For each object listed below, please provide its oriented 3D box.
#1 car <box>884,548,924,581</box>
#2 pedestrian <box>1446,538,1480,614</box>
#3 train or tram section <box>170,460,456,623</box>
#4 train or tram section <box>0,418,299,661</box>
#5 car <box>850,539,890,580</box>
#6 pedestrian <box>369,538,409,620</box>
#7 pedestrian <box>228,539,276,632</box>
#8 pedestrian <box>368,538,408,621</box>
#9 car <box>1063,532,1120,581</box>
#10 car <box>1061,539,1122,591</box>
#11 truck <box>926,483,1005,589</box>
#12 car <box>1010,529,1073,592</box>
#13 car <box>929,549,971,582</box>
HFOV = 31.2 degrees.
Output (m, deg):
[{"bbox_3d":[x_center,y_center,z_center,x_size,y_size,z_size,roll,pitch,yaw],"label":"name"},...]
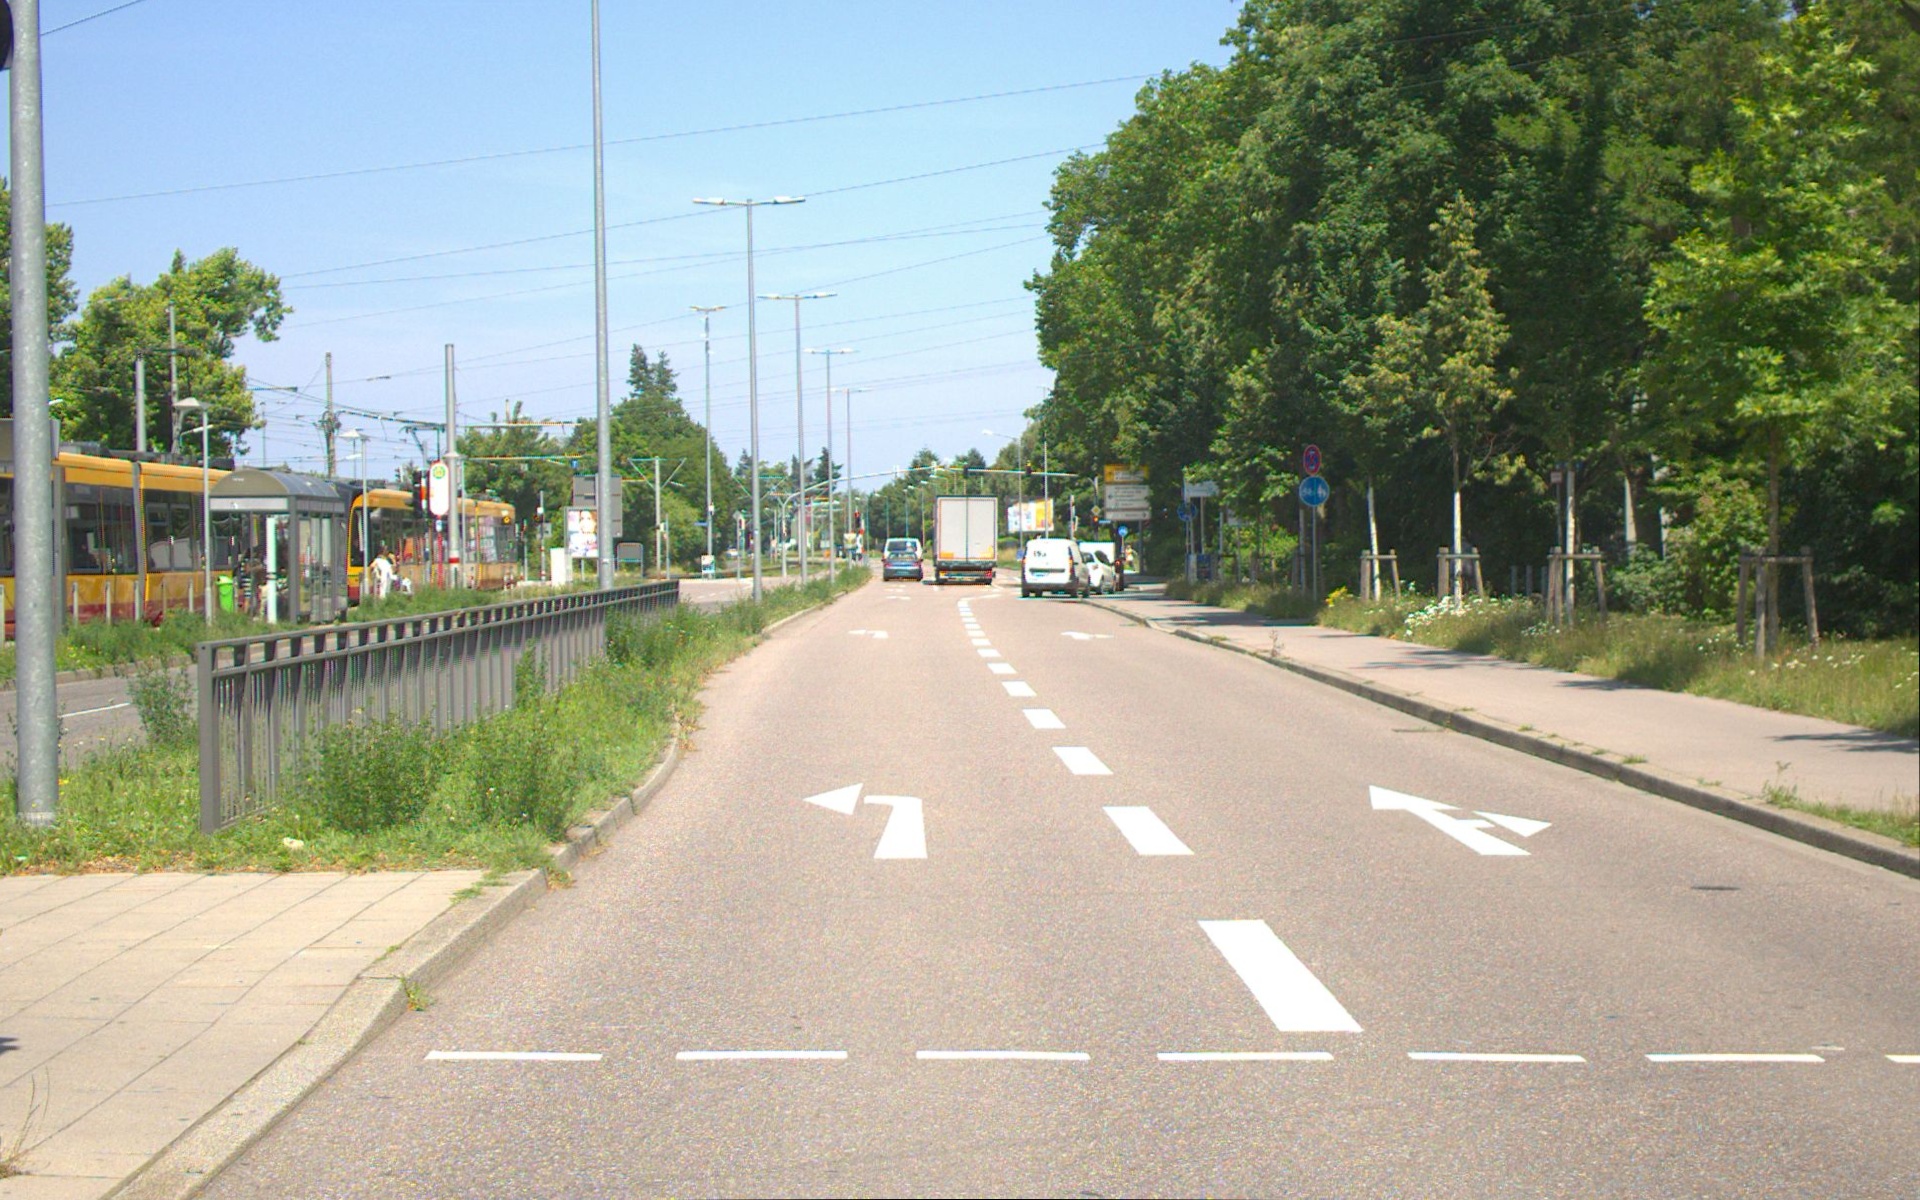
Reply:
[{"bbox_3d":[-2.578,-1.652,157.878,1.811,1.459,4.000,0,1,-1],"label":"car"},{"bbox_3d":[9.545,-0.453,65.260,0.604,1.433,0.556,0,1,6],"label":"pedestrian"},{"bbox_3d":[-17.581,-1.662,97.034,2.931,3.776,33.091,0,1,-2],"label":"train or tram section"},{"bbox_3d":[-16.599,-1.143,65.594,2.957,3.736,30.035,0,1,-2],"label":"train or tram section"},{"bbox_3d":[-4.576,-2.075,175.158,1.993,2.007,4.000,0,1,-1],"label":"car"},{"bbox_3d":[-14.107,-0.525,84.940,0.815,2.007,0.938,0,1,-1],"label":"pedestrian"},{"bbox_3d":[-14.267,-0.302,69.294,0.785,1.862,0.817,0,1,-1],"label":"pedestrian"},{"bbox_3d":[-13.915,-0.510,83.697,0.815,2.007,0.938,0,1,-1],"label":"pedestrian"},{"bbox_3d":[4.531,-1.516,118.782,1.779,1.663,4.000,0,1,-1],"label":"car"},{"bbox_3d":[4.282,-1.152,112.439,1.779,1.663,4.000,0,1,-1],"label":"car"},{"bbox_3d":[0.193,-2.719,146.046,3.205,4.344,6.561,0,1,-1],"label":"truck"},{"bbox_3d":[2.495,-1.223,105.509,1.779,1.897,4.000,0,1,-1],"label":"car"},{"bbox_3d":[-0.454,-1.558,153.611,1.811,1.459,4.000,0,1,-1],"label":"car"}]
